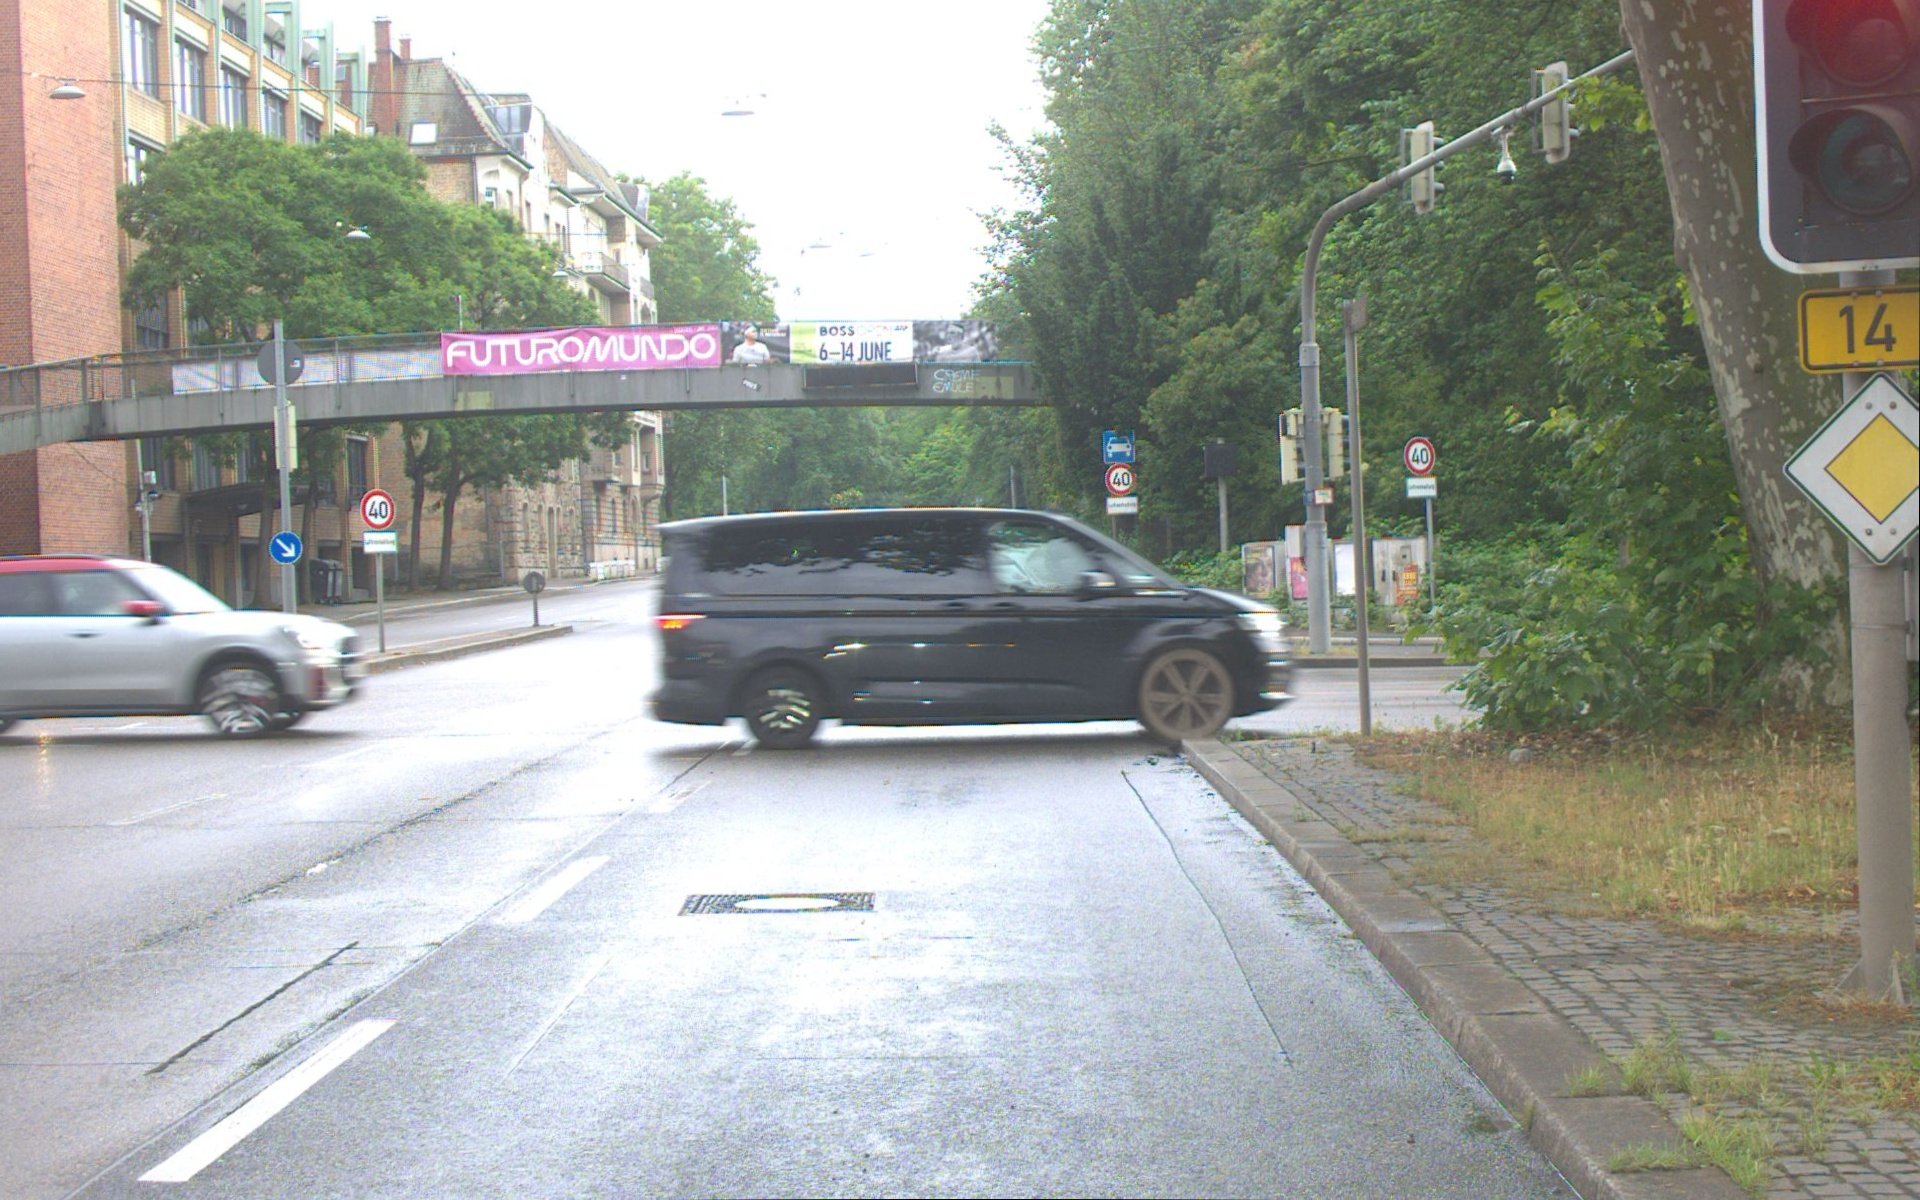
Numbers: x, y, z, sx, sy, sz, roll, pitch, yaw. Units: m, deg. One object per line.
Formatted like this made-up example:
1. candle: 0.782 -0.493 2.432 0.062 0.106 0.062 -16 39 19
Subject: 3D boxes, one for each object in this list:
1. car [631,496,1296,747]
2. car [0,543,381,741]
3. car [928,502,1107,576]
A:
1. car: 0.014 0.156 27.368 5.075 1.839 2.000 -1 1 -1
2. car: -7.639 0.373 30.772 4.511 1.632 1.881 -2 1 2
3. car: 1.275 -1.374 78.227 1.875 1.632 4.525 -2 1 -32
